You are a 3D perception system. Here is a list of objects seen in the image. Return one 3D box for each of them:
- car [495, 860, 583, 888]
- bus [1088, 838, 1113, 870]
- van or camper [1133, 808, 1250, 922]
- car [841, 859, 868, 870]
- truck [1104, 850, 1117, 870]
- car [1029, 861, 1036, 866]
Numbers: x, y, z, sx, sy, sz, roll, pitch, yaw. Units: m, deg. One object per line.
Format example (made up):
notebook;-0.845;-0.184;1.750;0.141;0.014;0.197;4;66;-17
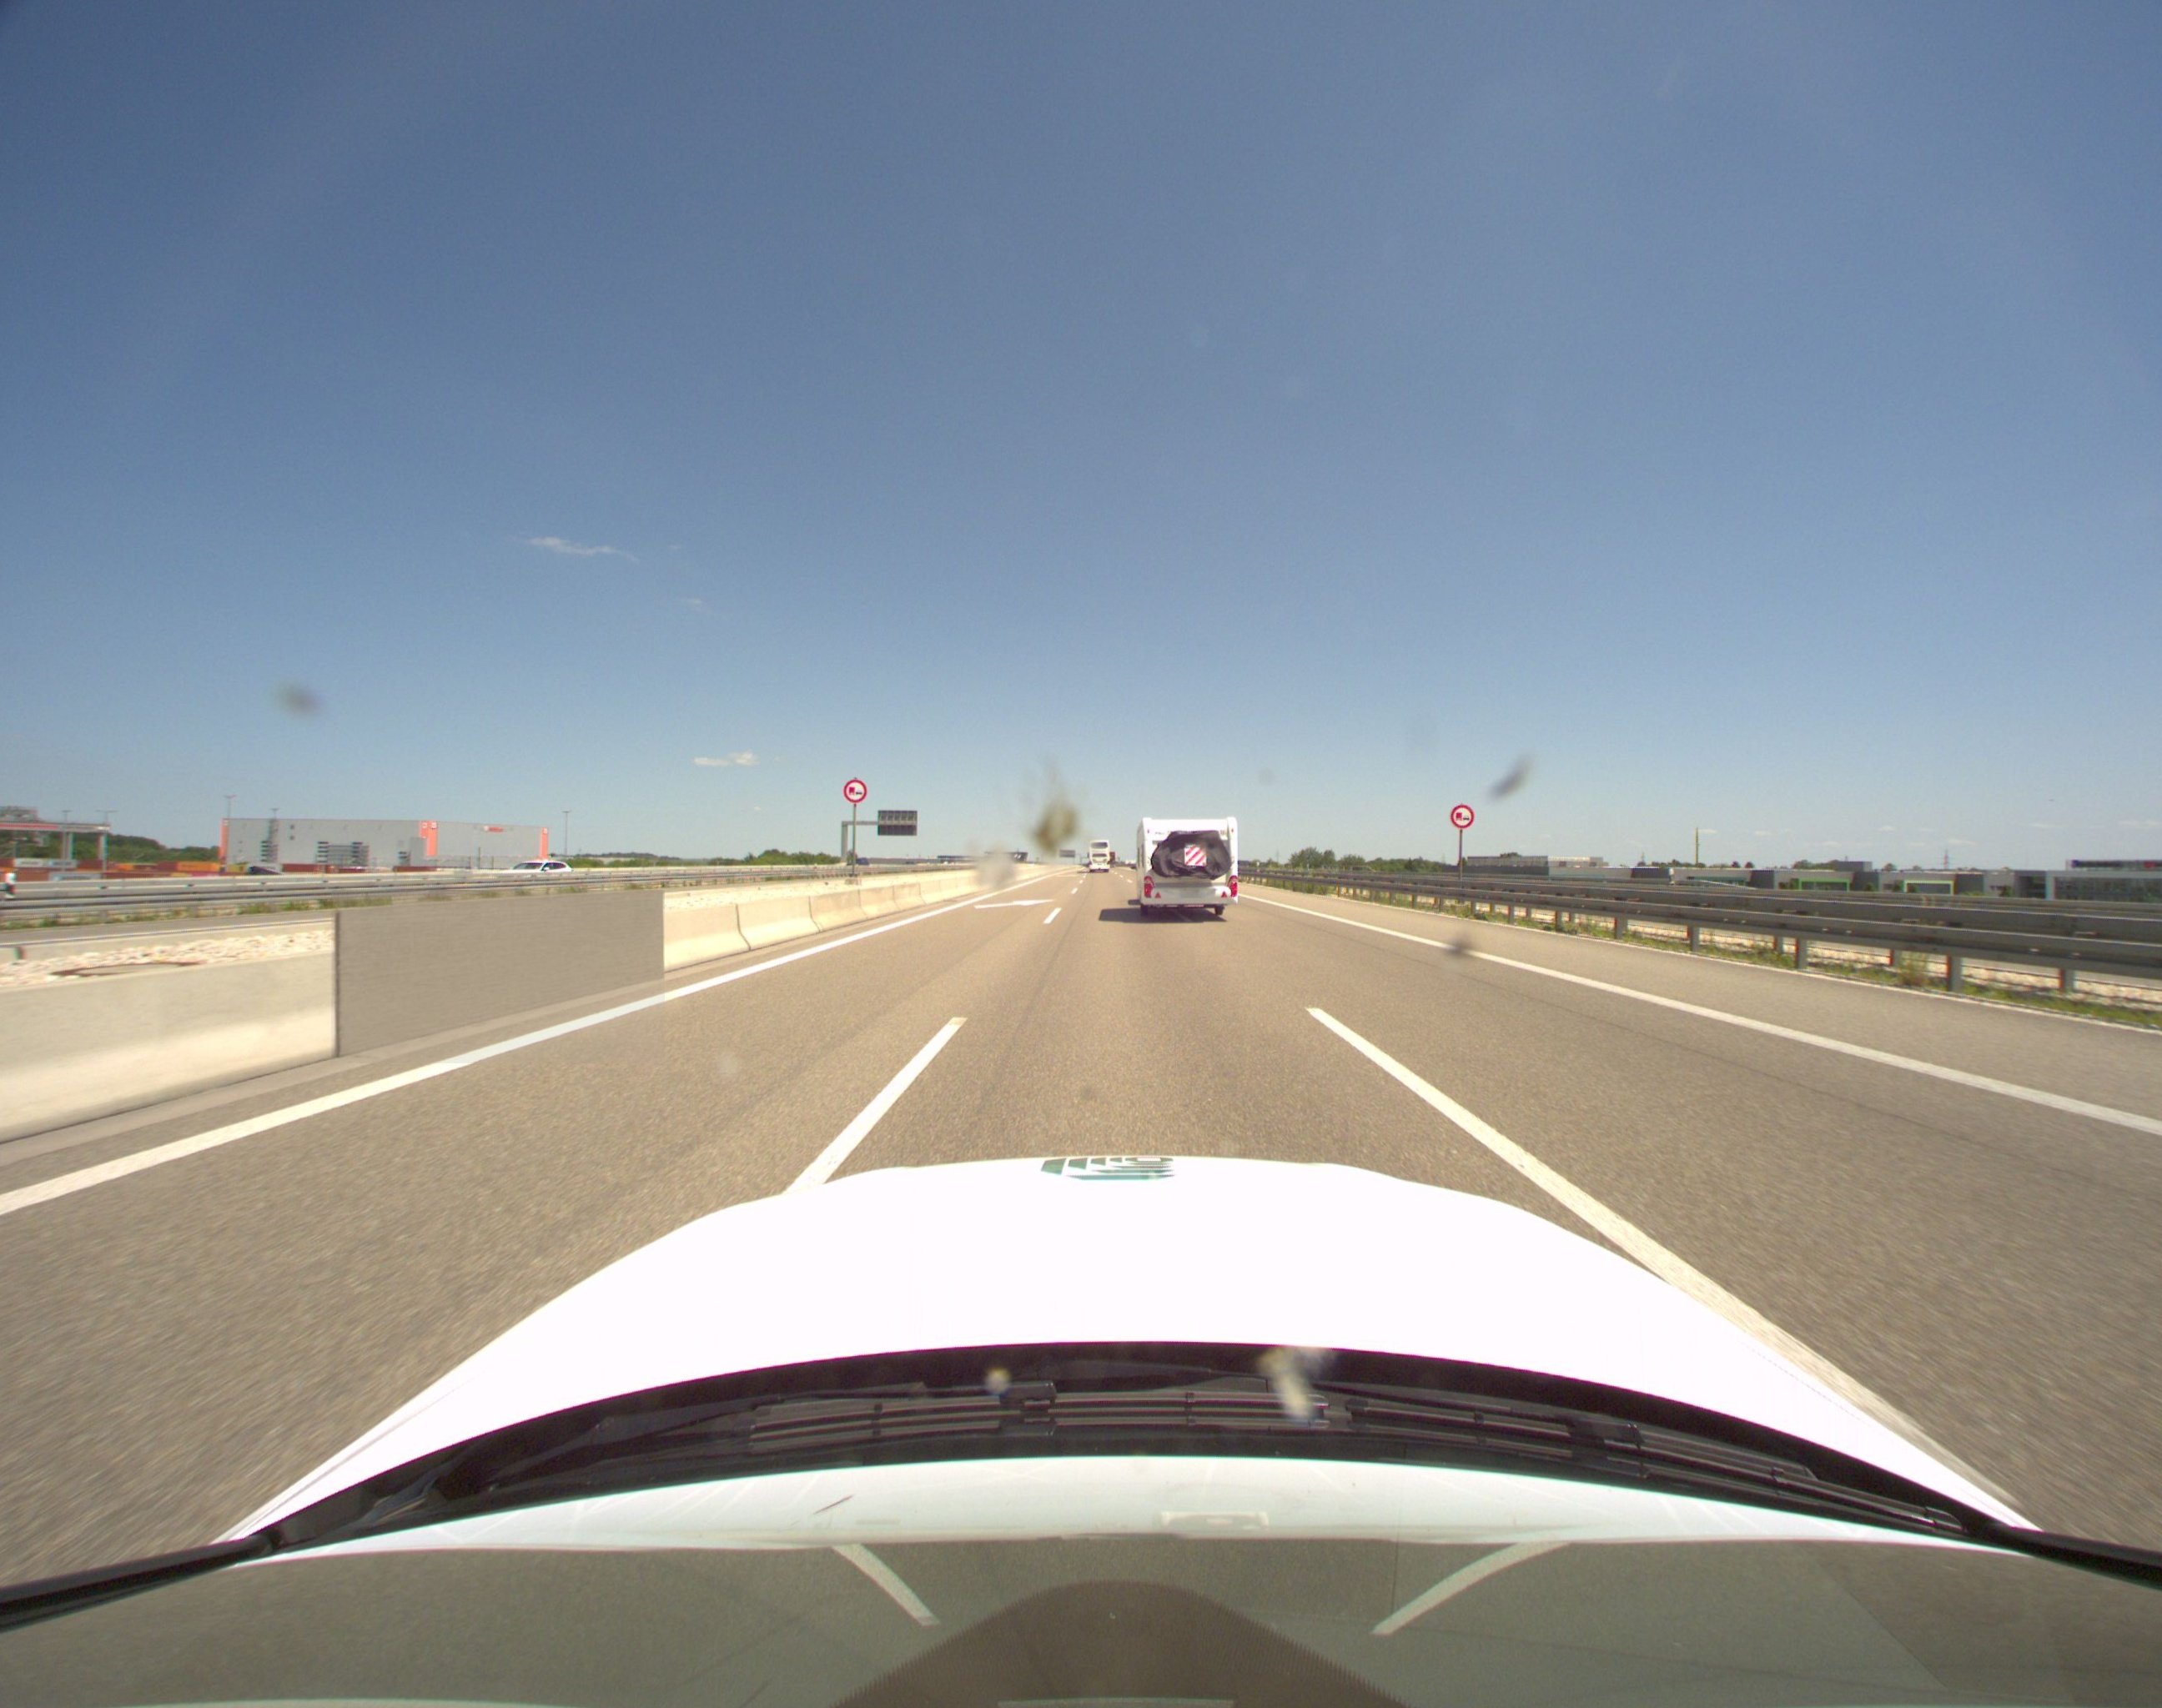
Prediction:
car;-28.363;1.031;42.797;1.558;1.379;4.363;-1;0;2
bus;2.486;0.050;105.549;2.971;3.975;9.101;0;0;-1
van or camper;2.788;0.273;22.670;2.502;2.593;7.822;-1;0;2
car;-28.539;1.312;102.824;1.985;1.379;4.366;-1;0;3
truck;7.805;1.690;215.024;3.366;4.465;13.570;0;-3;2
car;-14.550;2.816;244.103;1.803;1.435;4.442;0;-1;1
